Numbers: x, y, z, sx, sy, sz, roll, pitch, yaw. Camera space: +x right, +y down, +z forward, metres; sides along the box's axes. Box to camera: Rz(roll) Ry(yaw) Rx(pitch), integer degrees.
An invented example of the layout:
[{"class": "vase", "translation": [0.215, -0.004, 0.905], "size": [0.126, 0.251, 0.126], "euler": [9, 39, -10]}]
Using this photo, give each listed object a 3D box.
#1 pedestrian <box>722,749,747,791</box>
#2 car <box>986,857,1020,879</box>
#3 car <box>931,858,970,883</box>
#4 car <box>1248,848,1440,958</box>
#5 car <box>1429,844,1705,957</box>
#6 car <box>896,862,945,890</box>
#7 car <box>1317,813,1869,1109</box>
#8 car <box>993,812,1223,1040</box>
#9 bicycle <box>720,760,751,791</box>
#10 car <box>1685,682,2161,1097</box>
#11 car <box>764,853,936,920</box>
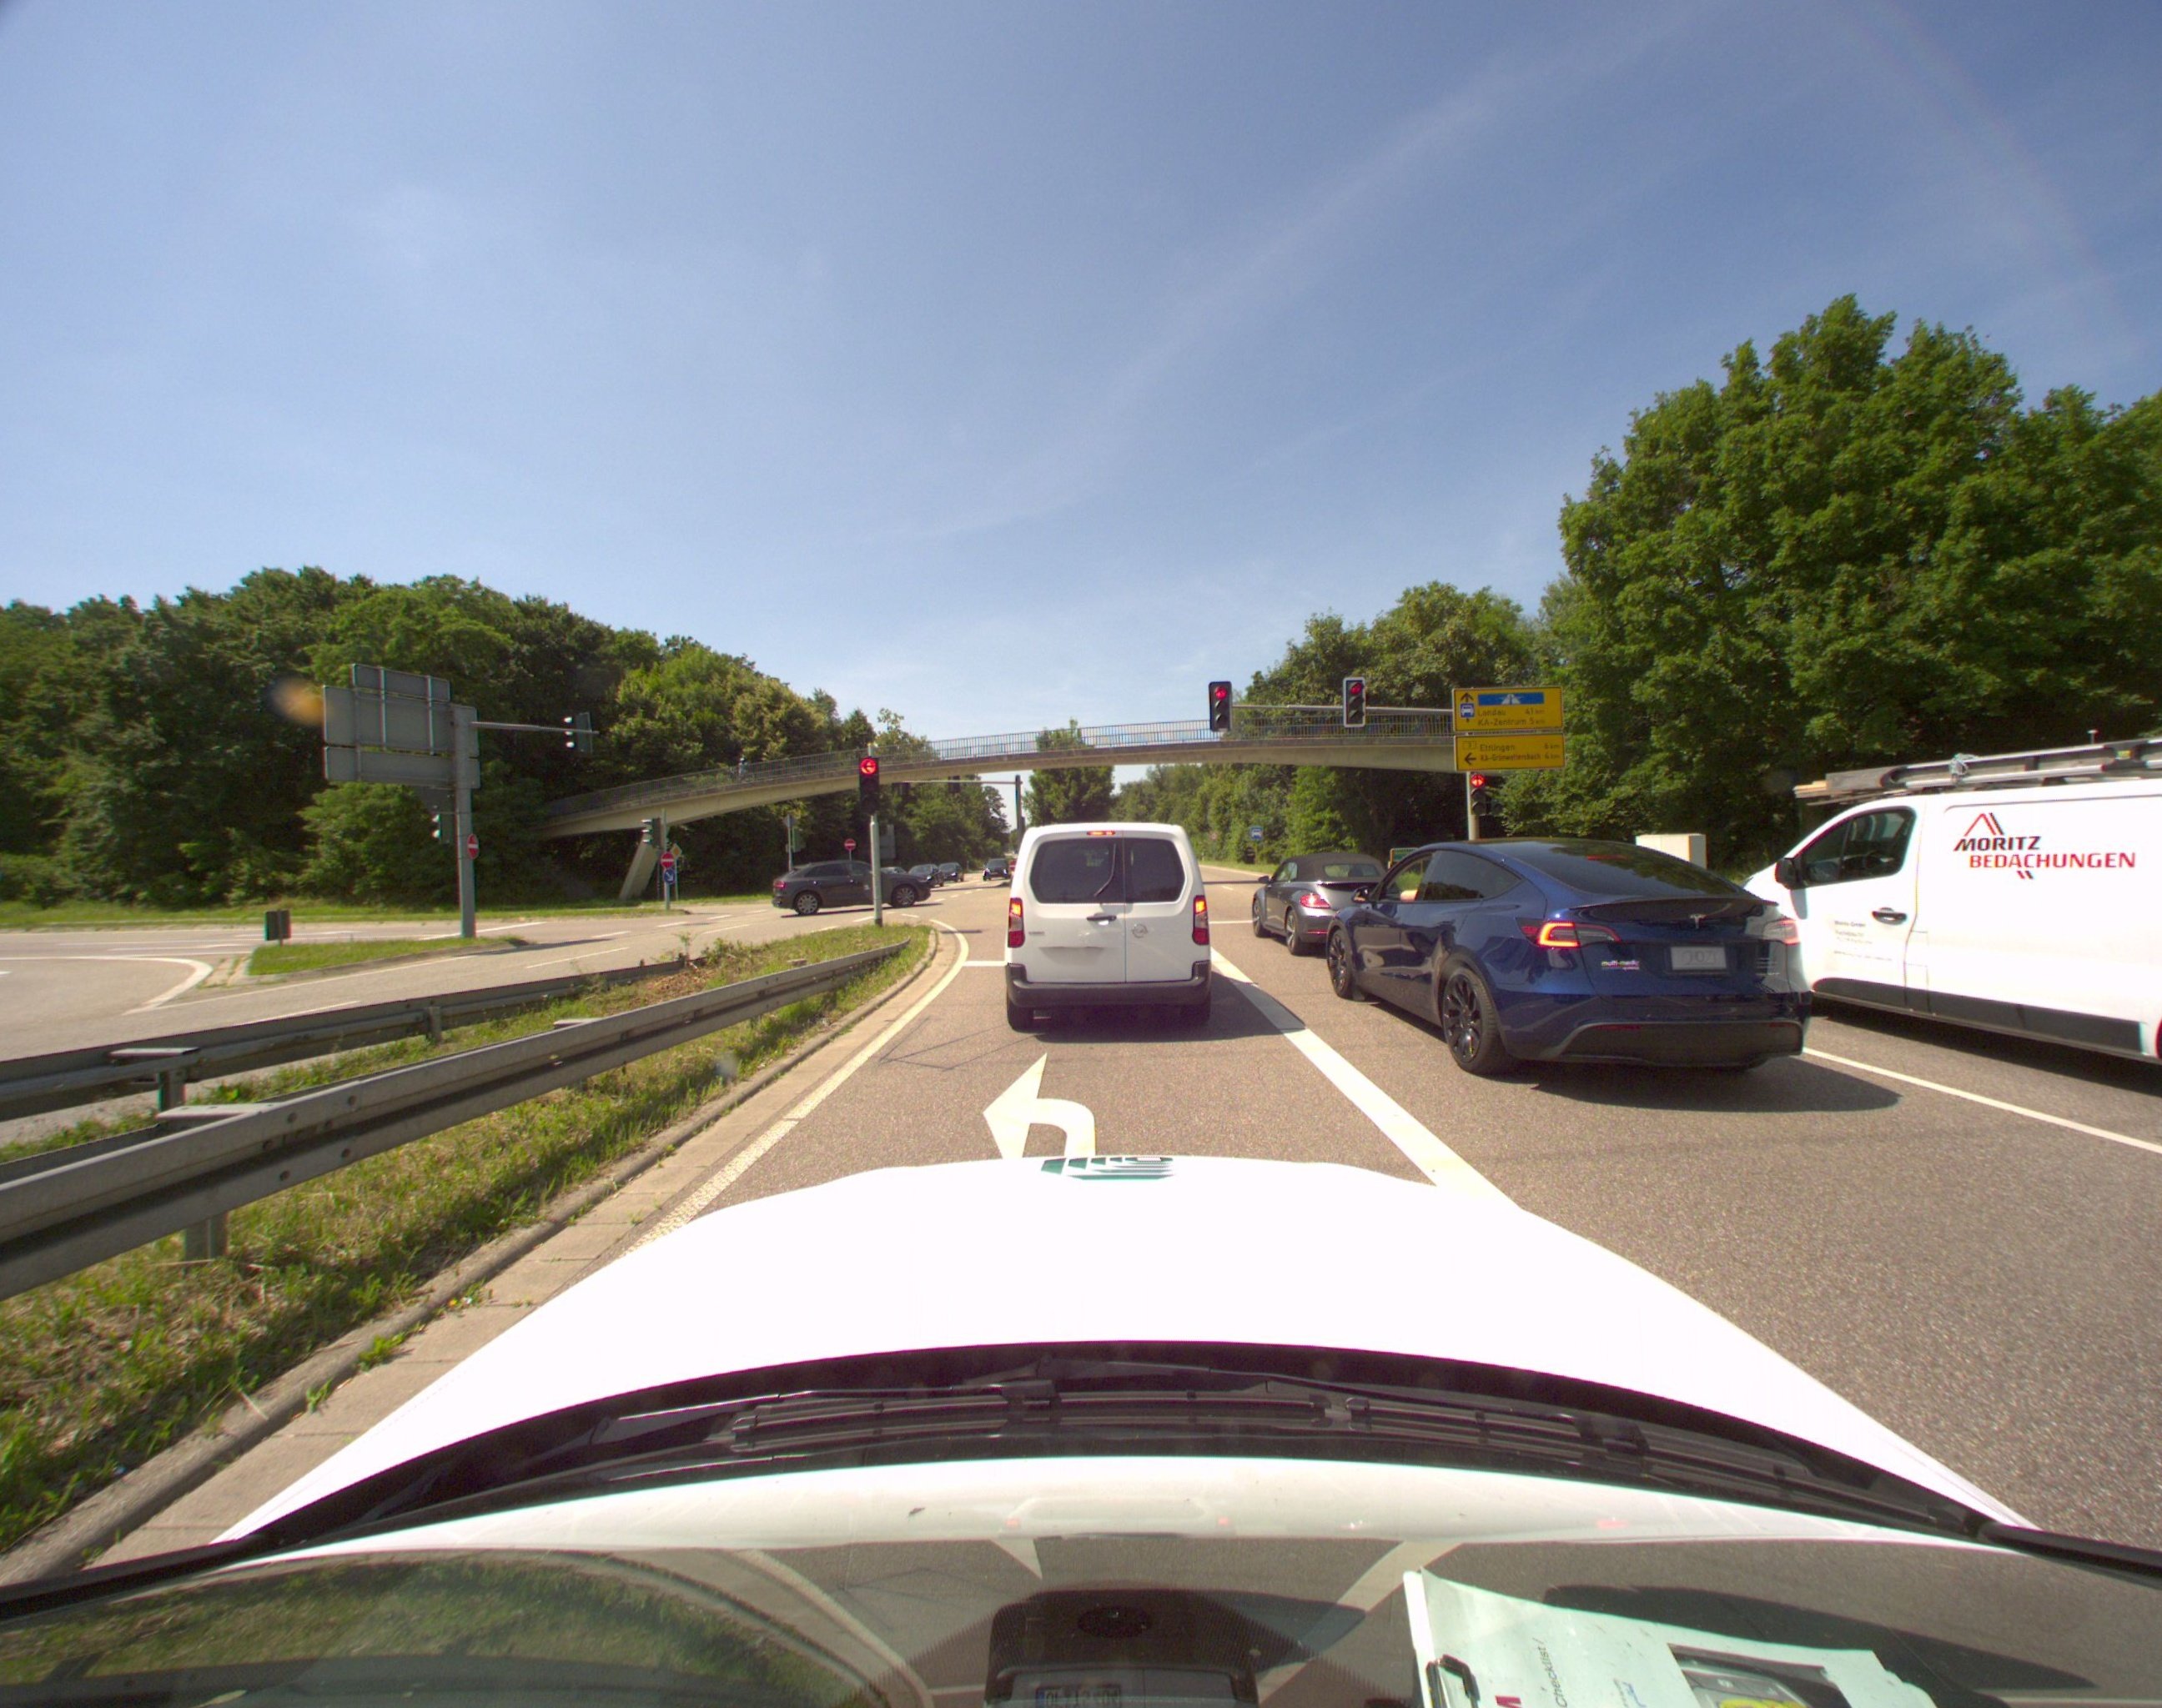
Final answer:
[{"class": "pedestrian", "translation": [-18.845, -4.541, 44.294], "size": [0.776, 2.139, 0.936], "euler": [-4, -2, 17]}, {"class": "car", "translation": [-5.649, 1.018, 59.533], "size": [1.986, 1.523, 4.029], "euler": [0, 0, 2]}, {"class": "car", "translation": [-9.562, 1.198, 59.964], "size": [1.986, 1.665, 4.002], "euler": [-3, 0, 2]}, {"class": "car", "translation": [3.973, 0.661, 13.026], "size": [1.893, 1.478, 3.940], "euler": [-1, 0, 2]}, {"class": "car", "translation": [7.383, 0.613, 13.000], "size": [1.893, 1.478, 4.382], "euler": [-1, 0, 2]}, {"class": "car", "translation": [-9.678, 1.310, 49.400], "size": [2.001, 1.460, 4.057], "euler": [-4, 0, 2]}, {"class": "car", "translation": [3.524, 0.595, 6.830], "size": [1.893, 1.644, 4.522], "euler": [-1, 0, 2]}, {"class": "car", "translation": [0.251, 0.558, 8.573], "size": [1.843, 1.825, 3.982], "euler": [-1, 1, 1]}, {"class": "bicycle", "translation": [-18.642, -4.238, 43.951], "size": [1.514, 1.474, 0.472], "euler": [-4, -2, 17]}, {"class": "car", "translation": [7.101, 0.193, 5.788], "size": [1.925, 2.349, 5.076], "euler": [-1, 0, 1]}, {"class": "car", "translation": [-7.481, 0.993, 26.401], "size": [5.091, 1.699, 2.033], "euler": [-4, 0, -23]}]
